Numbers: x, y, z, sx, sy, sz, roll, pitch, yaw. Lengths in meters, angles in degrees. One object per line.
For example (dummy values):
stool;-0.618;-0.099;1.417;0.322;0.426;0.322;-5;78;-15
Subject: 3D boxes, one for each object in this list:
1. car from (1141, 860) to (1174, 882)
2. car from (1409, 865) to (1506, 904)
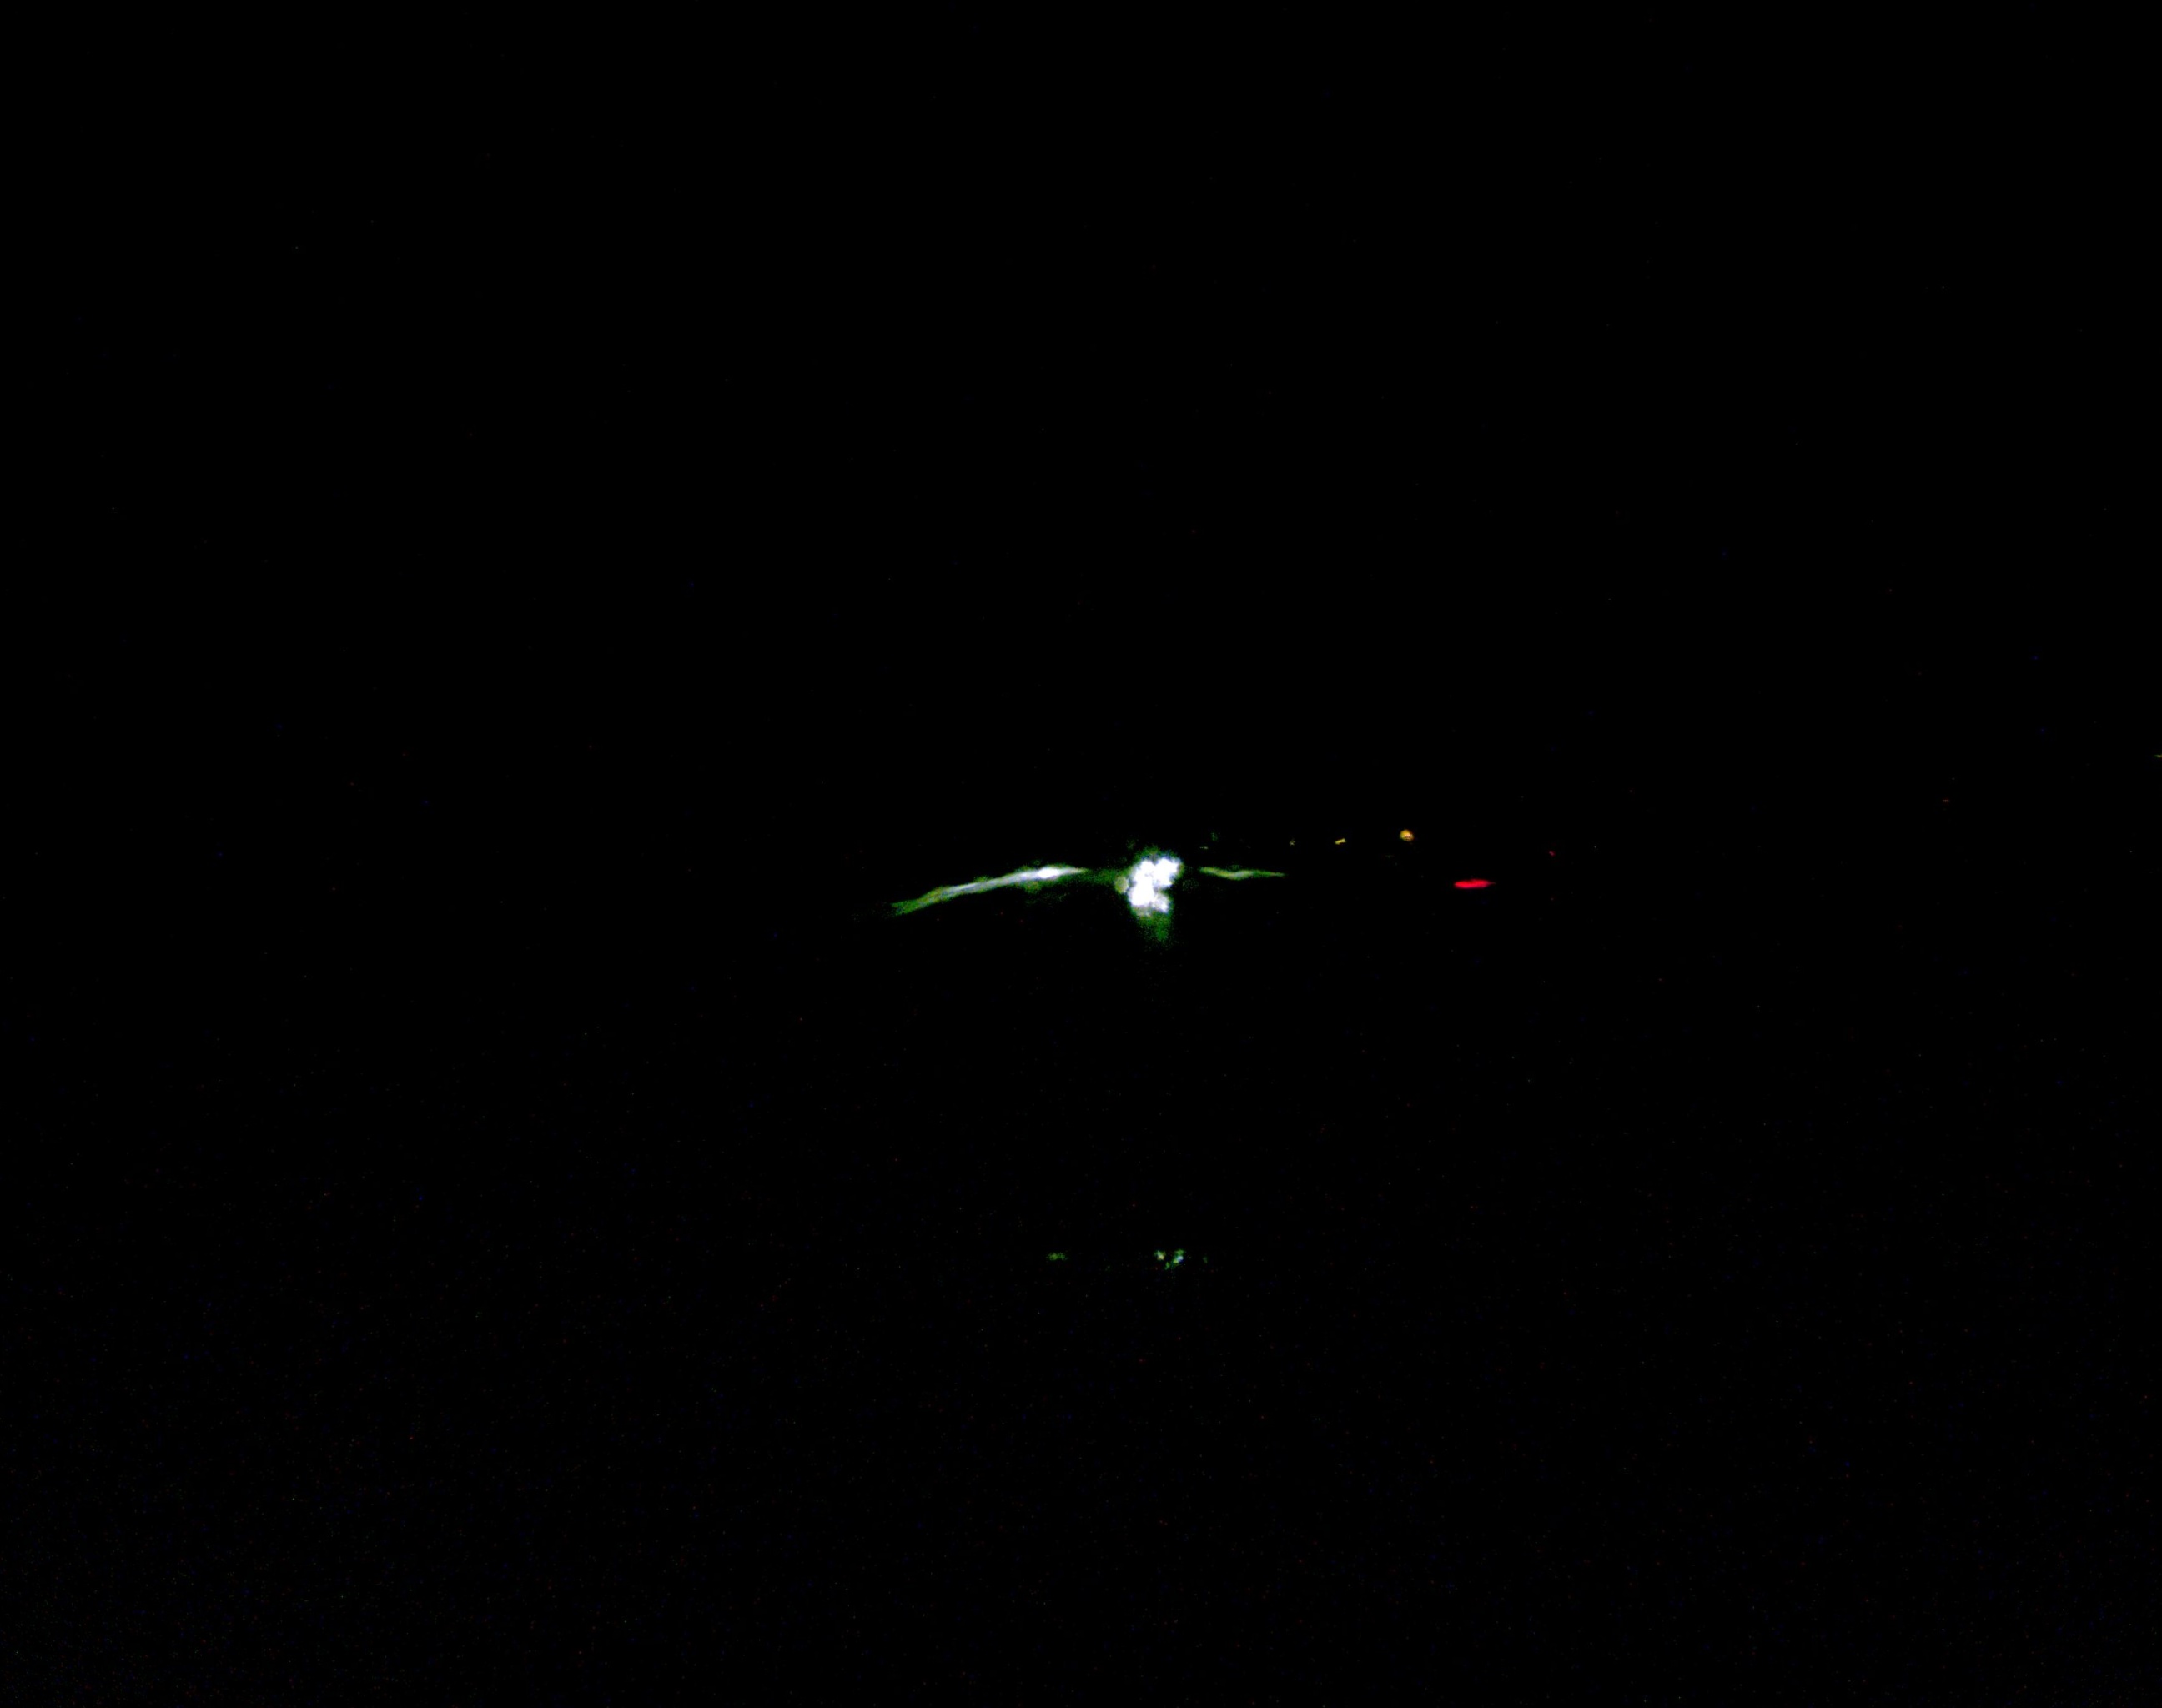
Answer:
car;6.423;1.386;63.363;1.996;1.737;4.106;-1;-1;16
car;16.740;1.332;34.011;1.760;1.630;3.996;-1;-1;-13
